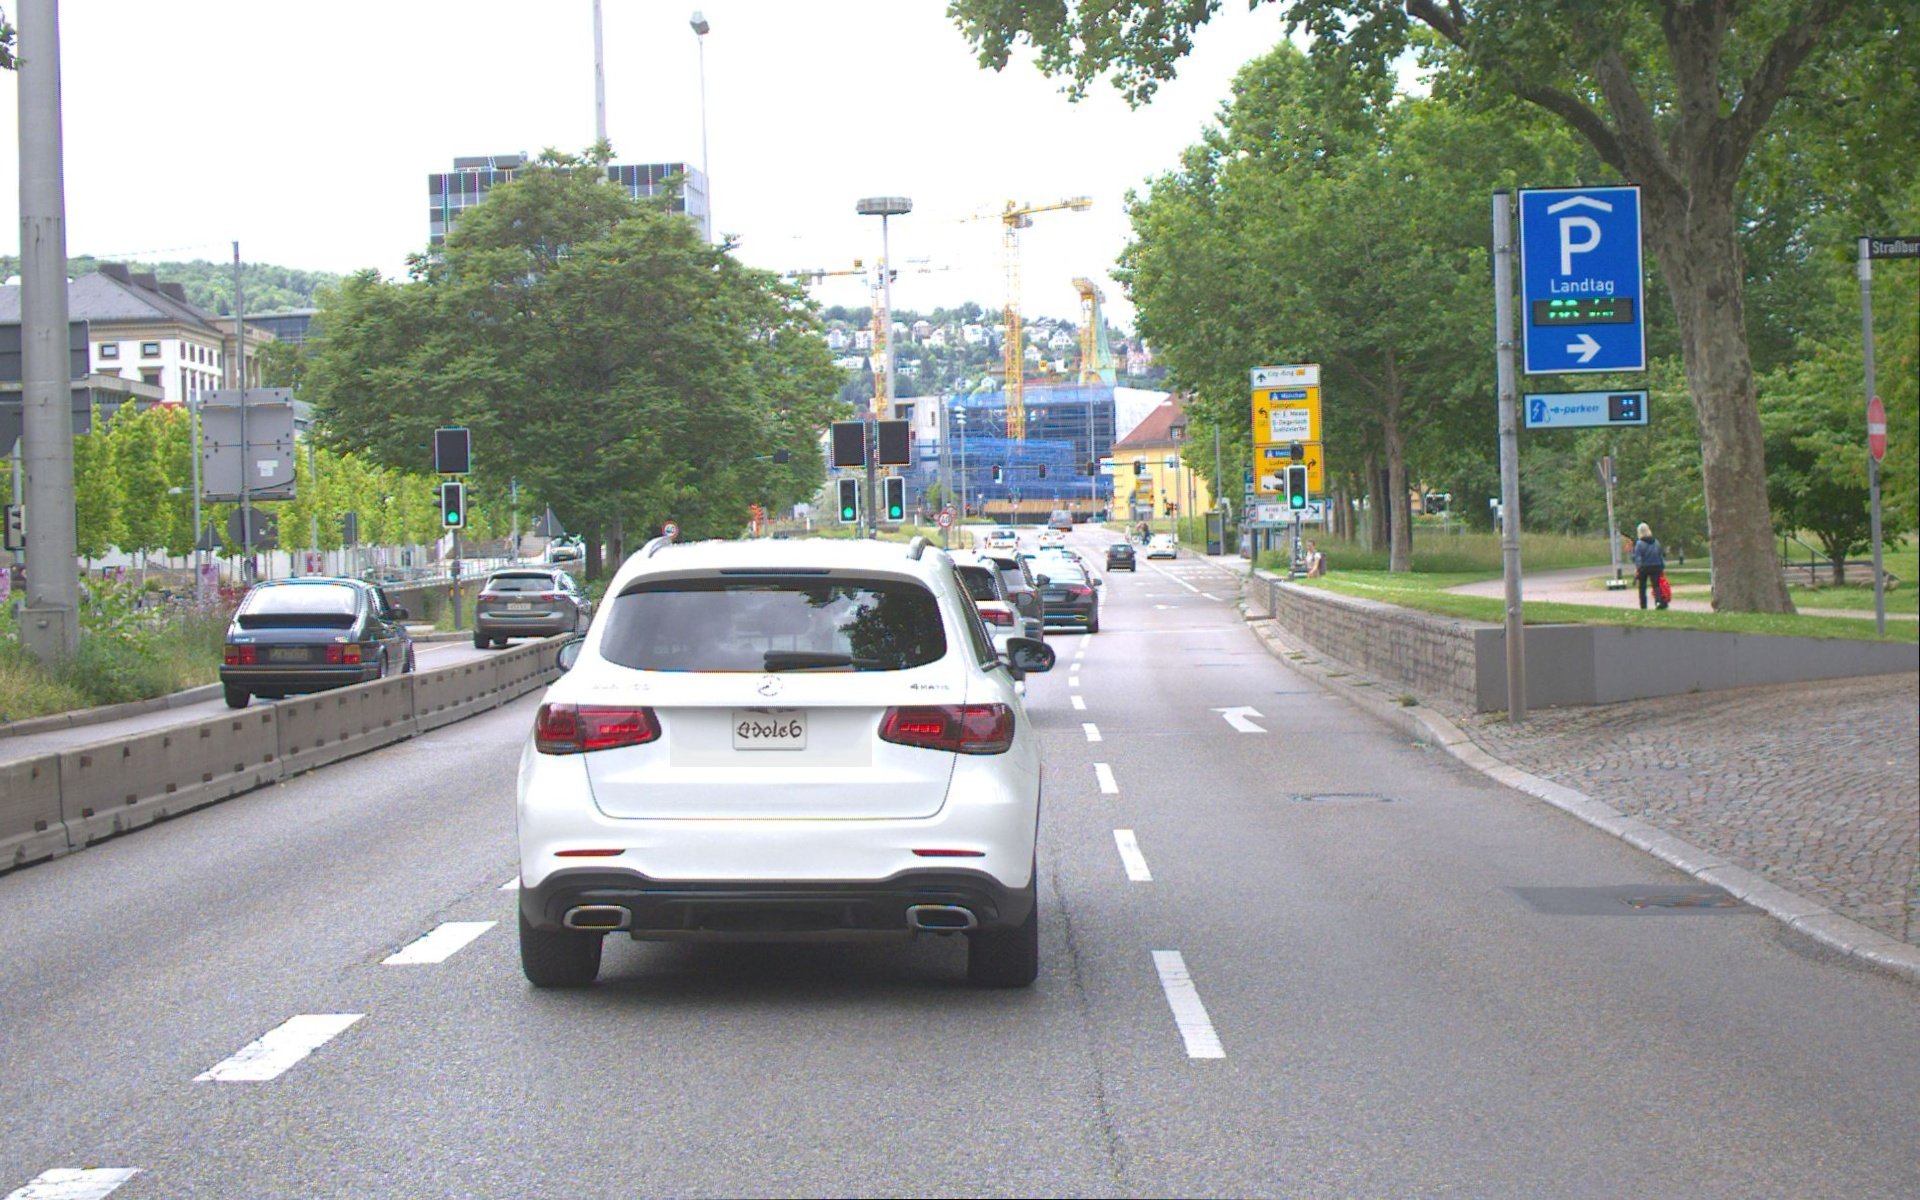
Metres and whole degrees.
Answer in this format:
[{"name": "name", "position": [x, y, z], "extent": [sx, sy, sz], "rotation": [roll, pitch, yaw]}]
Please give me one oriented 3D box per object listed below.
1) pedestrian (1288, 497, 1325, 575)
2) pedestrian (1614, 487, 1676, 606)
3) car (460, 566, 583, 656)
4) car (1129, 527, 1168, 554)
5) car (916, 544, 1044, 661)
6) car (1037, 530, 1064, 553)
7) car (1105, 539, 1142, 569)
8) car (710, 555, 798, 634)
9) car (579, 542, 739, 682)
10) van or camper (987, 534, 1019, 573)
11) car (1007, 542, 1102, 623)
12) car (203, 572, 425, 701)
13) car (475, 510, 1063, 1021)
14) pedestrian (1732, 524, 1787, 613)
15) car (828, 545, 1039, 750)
[{"name": "pedestrian", "position": [7.372, -1.360, 73.232], "extent": [0.697, 1.650, 0.684], "rotation": [1, 0, 0]}, {"name": "pedestrian", "position": [11.766, -0.908, 59.075], "extent": [0.856, 2.007, 0.815], "rotation": [1, -1, -1]}, {"name": "car", "position": [-7.994, 0.172, 62.929], "extent": [1.753, 1.548, 4.000], "rotation": [1, 1, 0]}, {"name": "car", "position": [11.975, -3.755, 218.255], "extent": [1.993, 1.612, 4.000], "rotation": [1, 0, -4]}, {"name": "car", "position": [0.249, 0.009, 49.364], "extent": [1.719, 1.579, 4.000], "rotation": [1, 1, -1]}, {"name": "car", "position": [6.465, -4.178, 244.706], "extent": [1.719, 1.579, 4.000], "rotation": [1, 1, -1]}, {"name": "car", "position": [8.870, -2.515, 187.015], "extent": [1.719, 1.579, 4.000], "rotation": [1, 1, -1]}, {"name": "car", "position": [-4.293, -0.143, 72.090], "extent": [1.719, 1.579, 4.000], "rotation": [1, 1, -2]}, {"name": "car", "position": [-3.779, 0.124, 43.714], "extent": [1.719, 1.673, 4.000], "rotation": [1, 1, -1]}, {"name": "van or camper", "position": [2.691, -2.914, 215.599], "extent": [1.922, 2.312, 4.000], "rotation": [0, -1, 0]}, {"name": "car", "position": [1.873, -0.372, 69.408], "extent": [1.719, 1.579, 4.000], "rotation": [1, 1, -1]}, {"name": "car", "position": [-6.994, 0.358, 37.565], "extent": [1.719, 1.288, 4.000], "rotation": [1, 1, -1]}, {"name": "car", "position": [-0.673, 0.552, 13.498], "extent": [1.940, 1.678, 4.000], "rotation": [1, 0, -1]}, {"name": "pedestrian", "position": [13.871, -0.551, 59.651], "extent": [0.786, 1.521, 0.683], "rotation": [1, 0, 2]}, {"name": "car", "position": [-0.170, 0.394, 29.710], "extent": [1.672, 1.622, 4.000], "rotation": [1, 0, 1]}]
